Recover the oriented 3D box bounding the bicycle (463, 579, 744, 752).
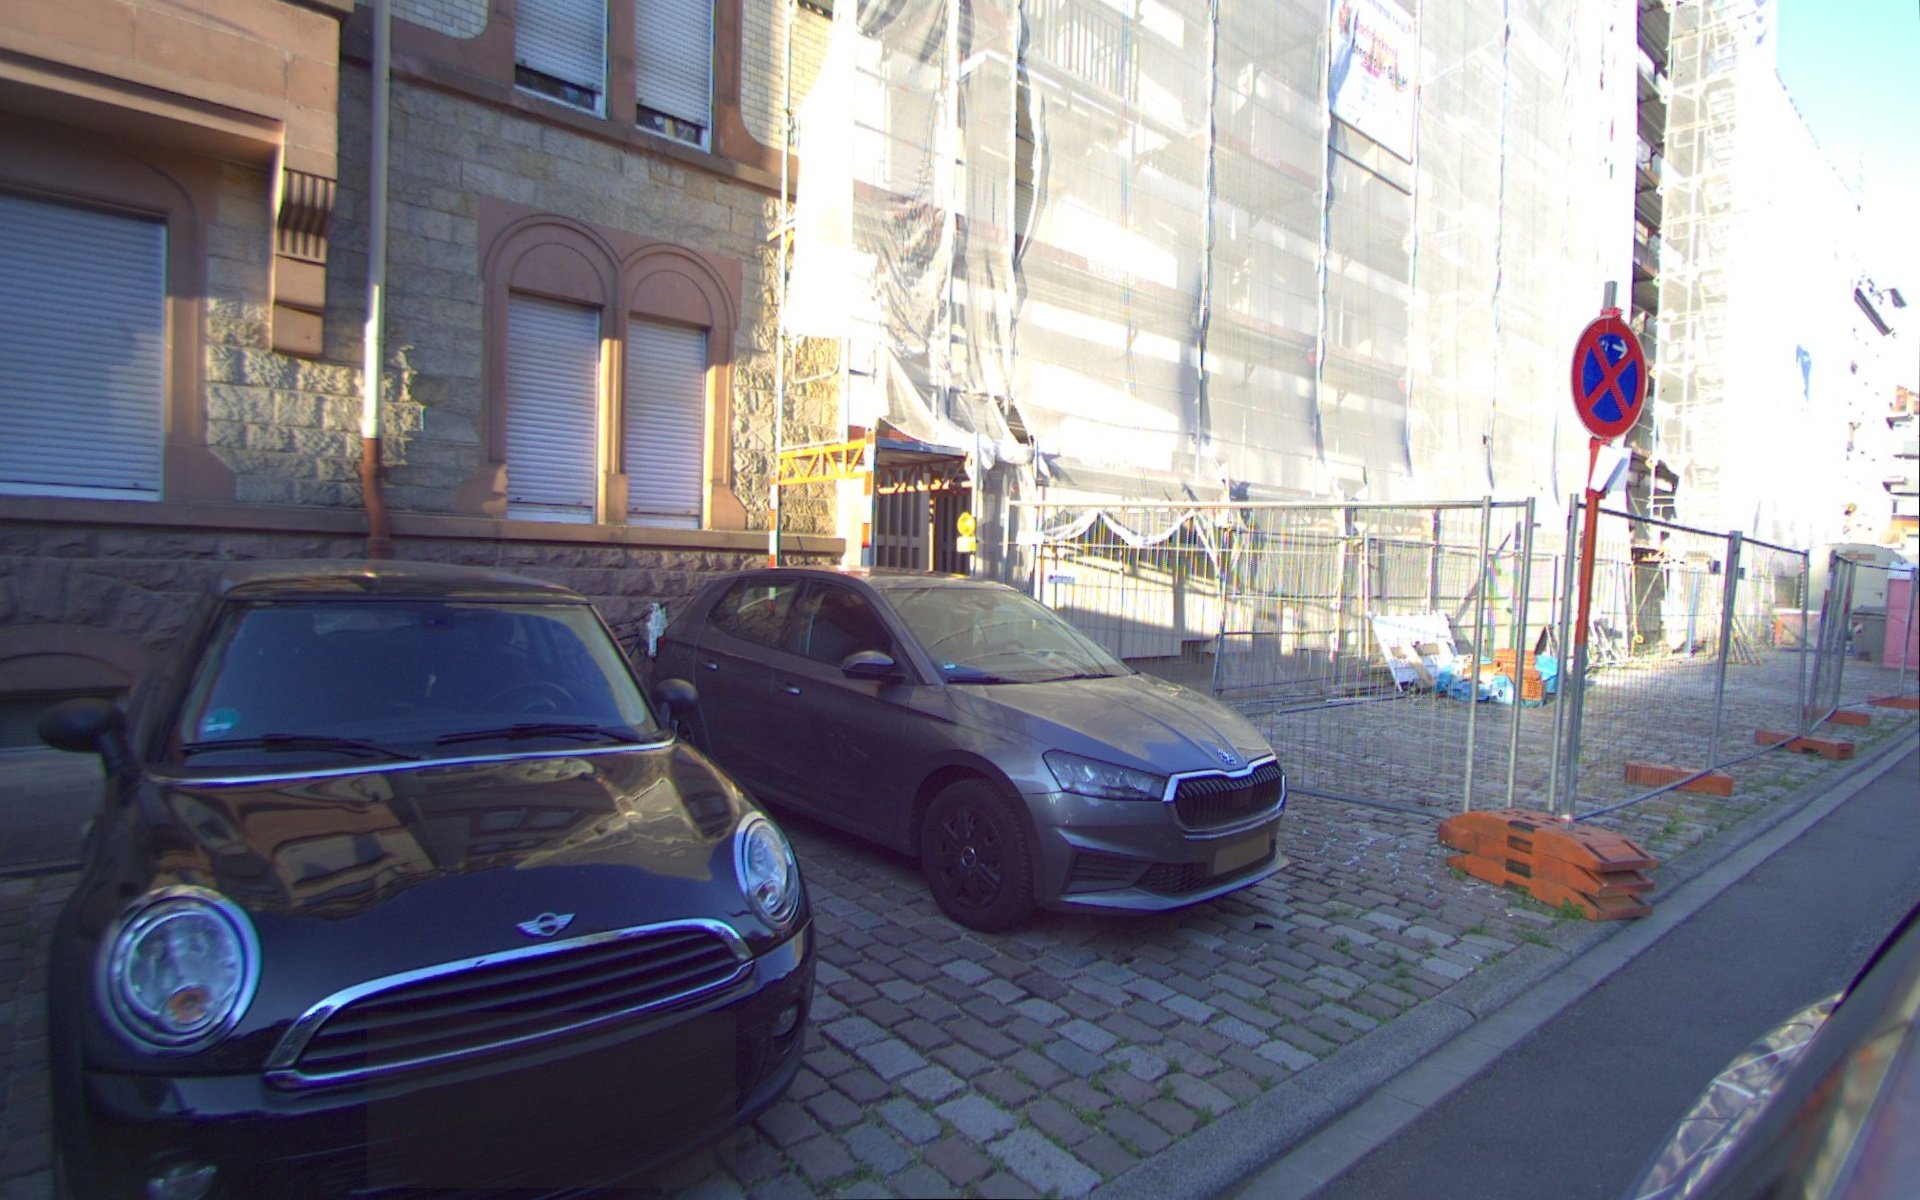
[{"bbox_3d":[-2.716,0.447,7.913,0.630,1.183,2.003,1,1,43],"label":"bicycle"}]

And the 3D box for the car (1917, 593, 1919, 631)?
[{"bbox_3d":[43.750,0.600,43.265,1.871,1.658,3.992,0,2,-43],"label":"car"}]

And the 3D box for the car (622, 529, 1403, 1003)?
[{"bbox_3d":[-0.002,0.473,5.606,1.986,1.534,3.992,0,4,-44],"label":"car"}]

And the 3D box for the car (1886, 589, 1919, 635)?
[{"bbox_3d":[36.504,0.500,36.627,1.838,1.635,4.164,0,2,-39],"label":"car"}]

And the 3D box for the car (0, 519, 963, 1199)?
[{"bbox_3d":[-1.918,0.515,3.536,1.755,1.503,3.946,-2,5,-39],"label":"car"}]
